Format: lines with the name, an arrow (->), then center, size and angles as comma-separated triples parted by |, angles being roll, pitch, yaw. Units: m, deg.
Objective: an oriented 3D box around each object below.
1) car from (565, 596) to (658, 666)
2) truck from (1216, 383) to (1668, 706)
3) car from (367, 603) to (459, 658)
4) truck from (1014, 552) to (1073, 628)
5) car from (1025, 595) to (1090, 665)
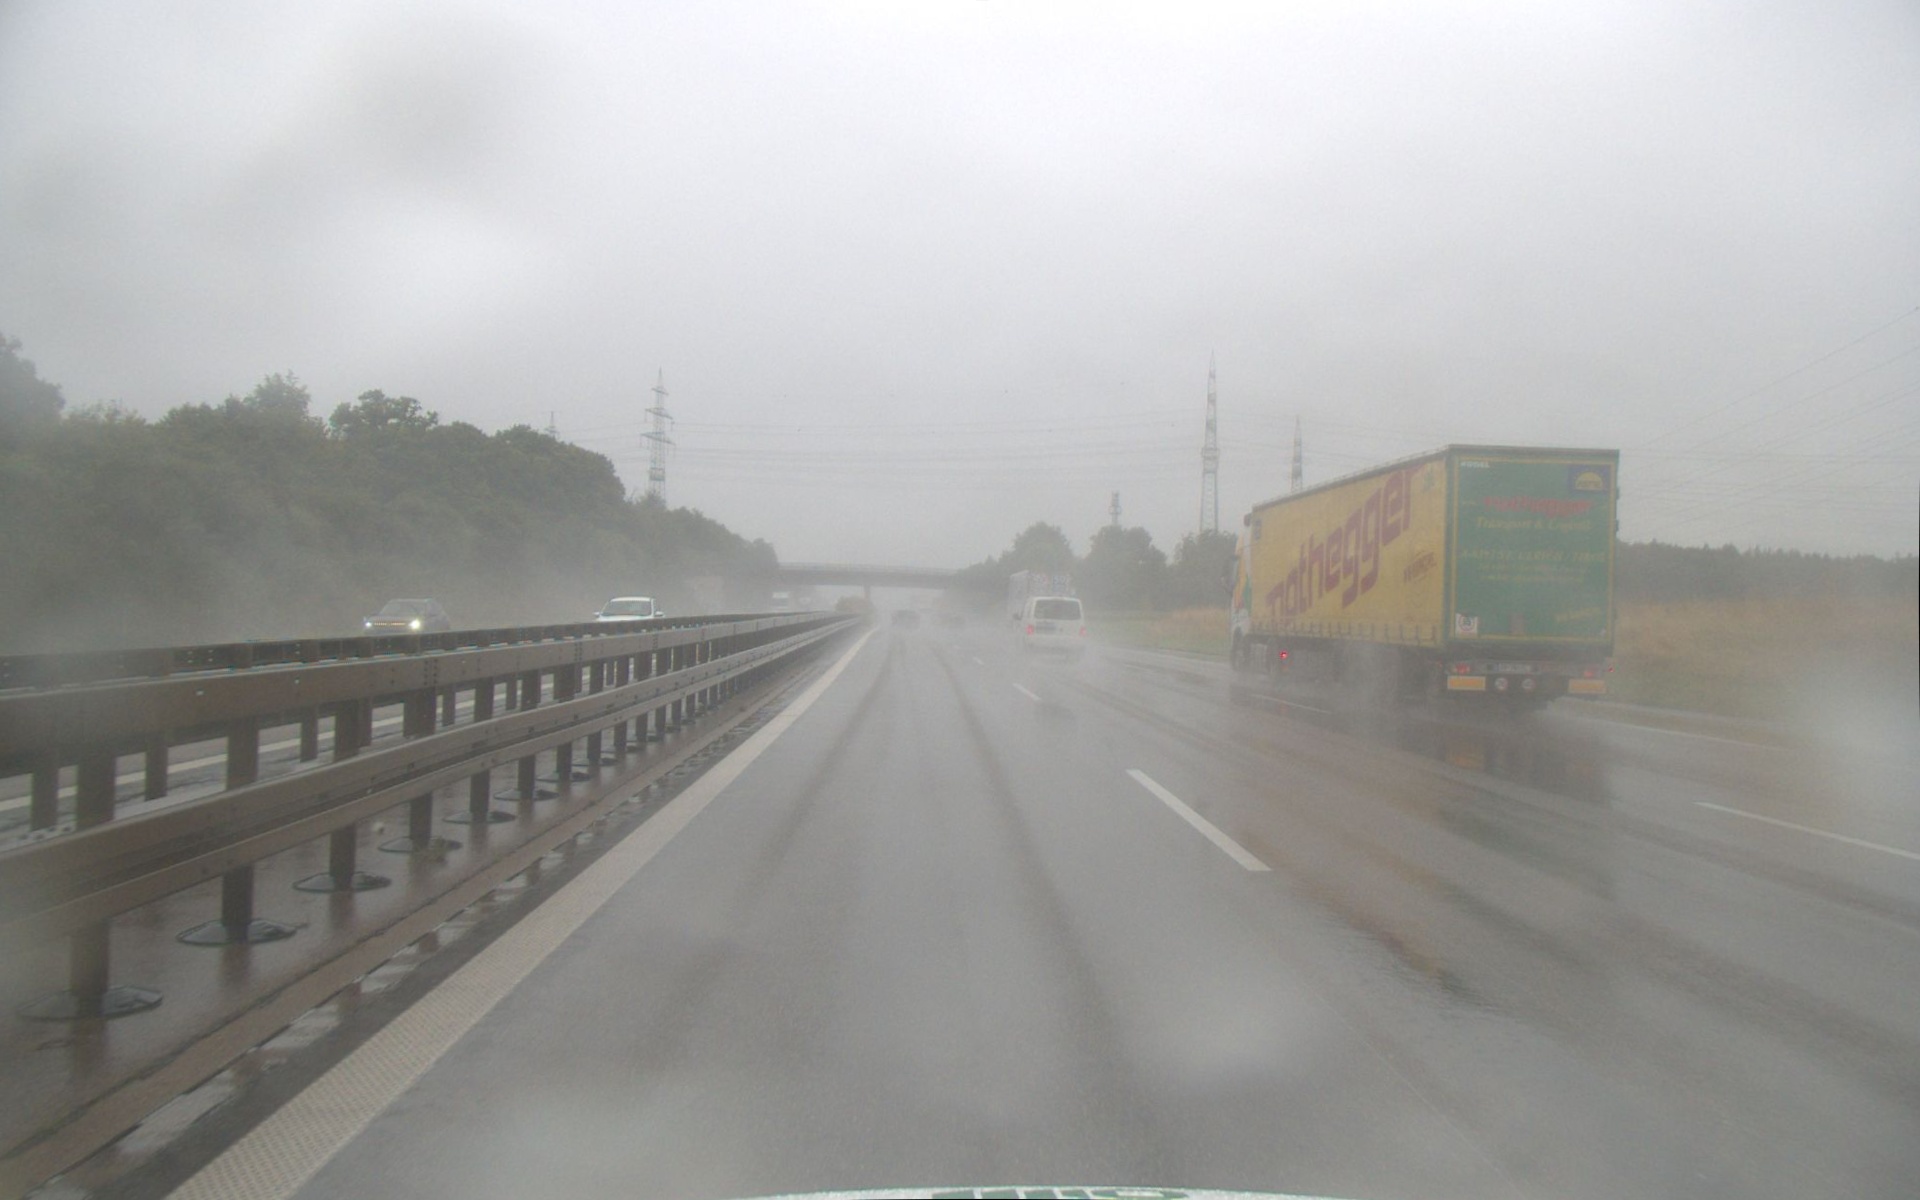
car -> -10.691, 0.939, 50.966 | 1.952, 2.049, 4.000 | 1, 0, 0
truck -> 8.273, -0.791, 32.192 | 4.103, 4.711, 16.104 | 0, 0, 0
car -> -17.595, 0.951, 53.384 | 1.590, 1.601, 4.001 | 1, 1, 1
truck -> 4.988, -0.607, 100.539 | 3.166, 4.387, 8.836 | 0, 0, 0
car -> 3.040, 0.889, 51.398 | 1.952, 2.049, 4.002 | 0, 0, 4
